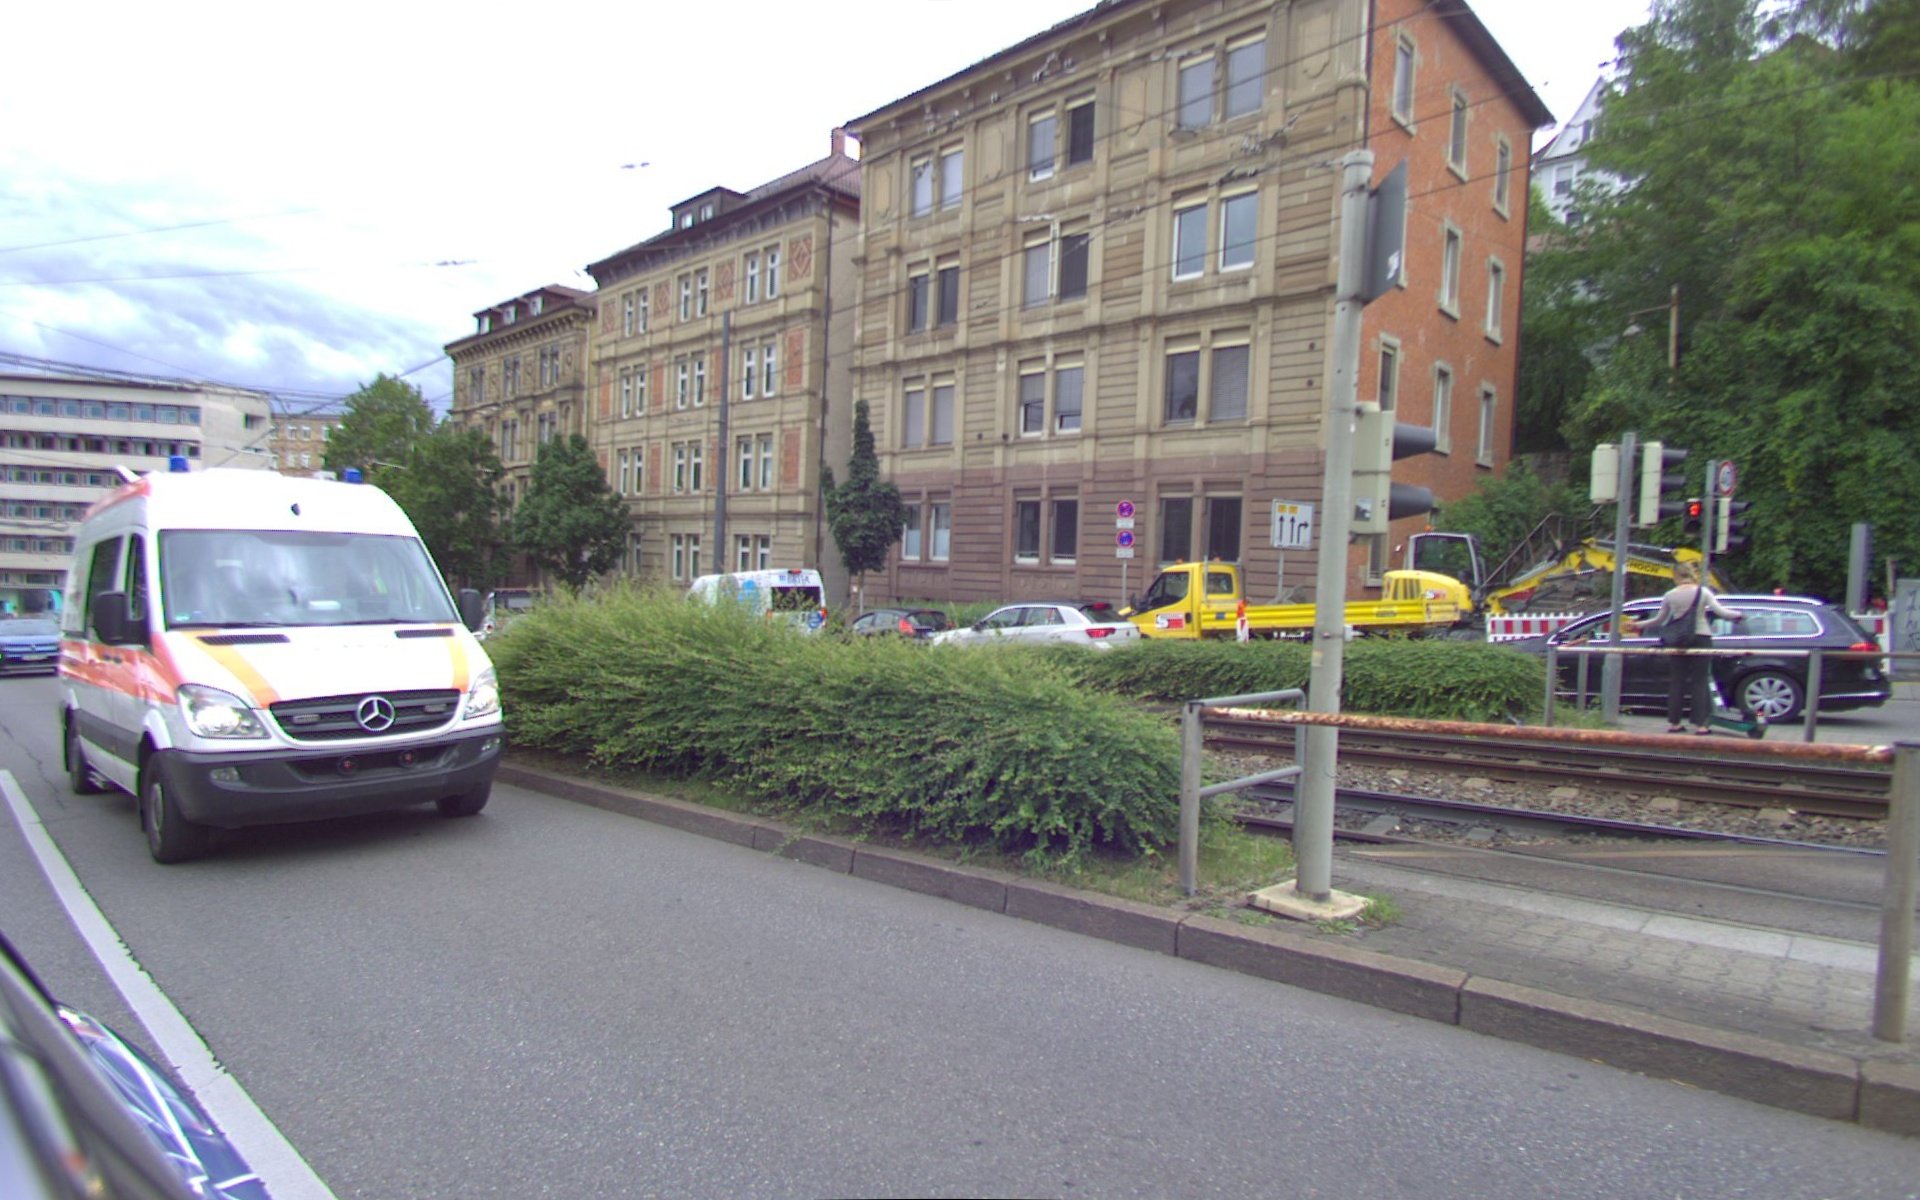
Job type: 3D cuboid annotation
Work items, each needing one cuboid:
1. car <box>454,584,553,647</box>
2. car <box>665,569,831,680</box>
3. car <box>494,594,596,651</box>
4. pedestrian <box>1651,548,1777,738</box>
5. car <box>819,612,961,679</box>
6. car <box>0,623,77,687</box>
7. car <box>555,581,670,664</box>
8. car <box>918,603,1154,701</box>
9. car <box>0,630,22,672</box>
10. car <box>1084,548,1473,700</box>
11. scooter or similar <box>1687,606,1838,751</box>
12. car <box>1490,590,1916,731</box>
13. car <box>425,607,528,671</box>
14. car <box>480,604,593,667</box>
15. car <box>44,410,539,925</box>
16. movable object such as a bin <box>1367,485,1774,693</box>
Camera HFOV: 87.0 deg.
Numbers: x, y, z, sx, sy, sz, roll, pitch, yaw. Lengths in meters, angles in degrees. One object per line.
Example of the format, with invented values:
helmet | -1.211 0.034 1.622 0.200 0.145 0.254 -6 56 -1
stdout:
car | -17.618 0.614 38.981 2.210 2.305 4.002 1 -2 -45
car | -6.000 0.678 28.289 4.784 2.844 2.185 -2 -2 43
car | -14.963 0.814 36.435 2.288 1.954 3.438 1 -2 -45
pedestrian | 7.582 0.428 10.219 0.787 1.831 0.736 -1 -3 21
car | -1.733 1.066 24.285 1.624 1.465 3.571 0 -1 -39
car | -25.606 1.460 27.692 1.904 1.584 4.183 -2 0 -45
car | -11.215 0.720 32.512 1.970 2.494 4.002 1 -2 -45
car | 1.317 0.893 18.340 3.993 1.579 1.687 -1 -2 37
car | -37.328 1.941 38.793 1.970 1.564 4.321 1 -2 -43
car | 5.901 0.434 19.522 6.748 2.454 2.416 -1 -1 40
scooter or similar | 7.794 0.722 9.906 0.528 1.306 1.492 -1 -1 13
car | 8.977 0.677 12.517 3.997 1.473 1.760 -1 -2 40
car | -16.544 1.295 34.557 1.970 2.060 4.002 1 -2 -45
car | -12.878 1.058 30.680 1.815 1.763 4.002 1 -2 -45
car | -5.666 0.413 8.101 5.854 2.720 2.011 -2 -1 43
movable object such as a bin | 11.903 -0.115 20.311 6.529 3.575 2.725 -1 -2 33
